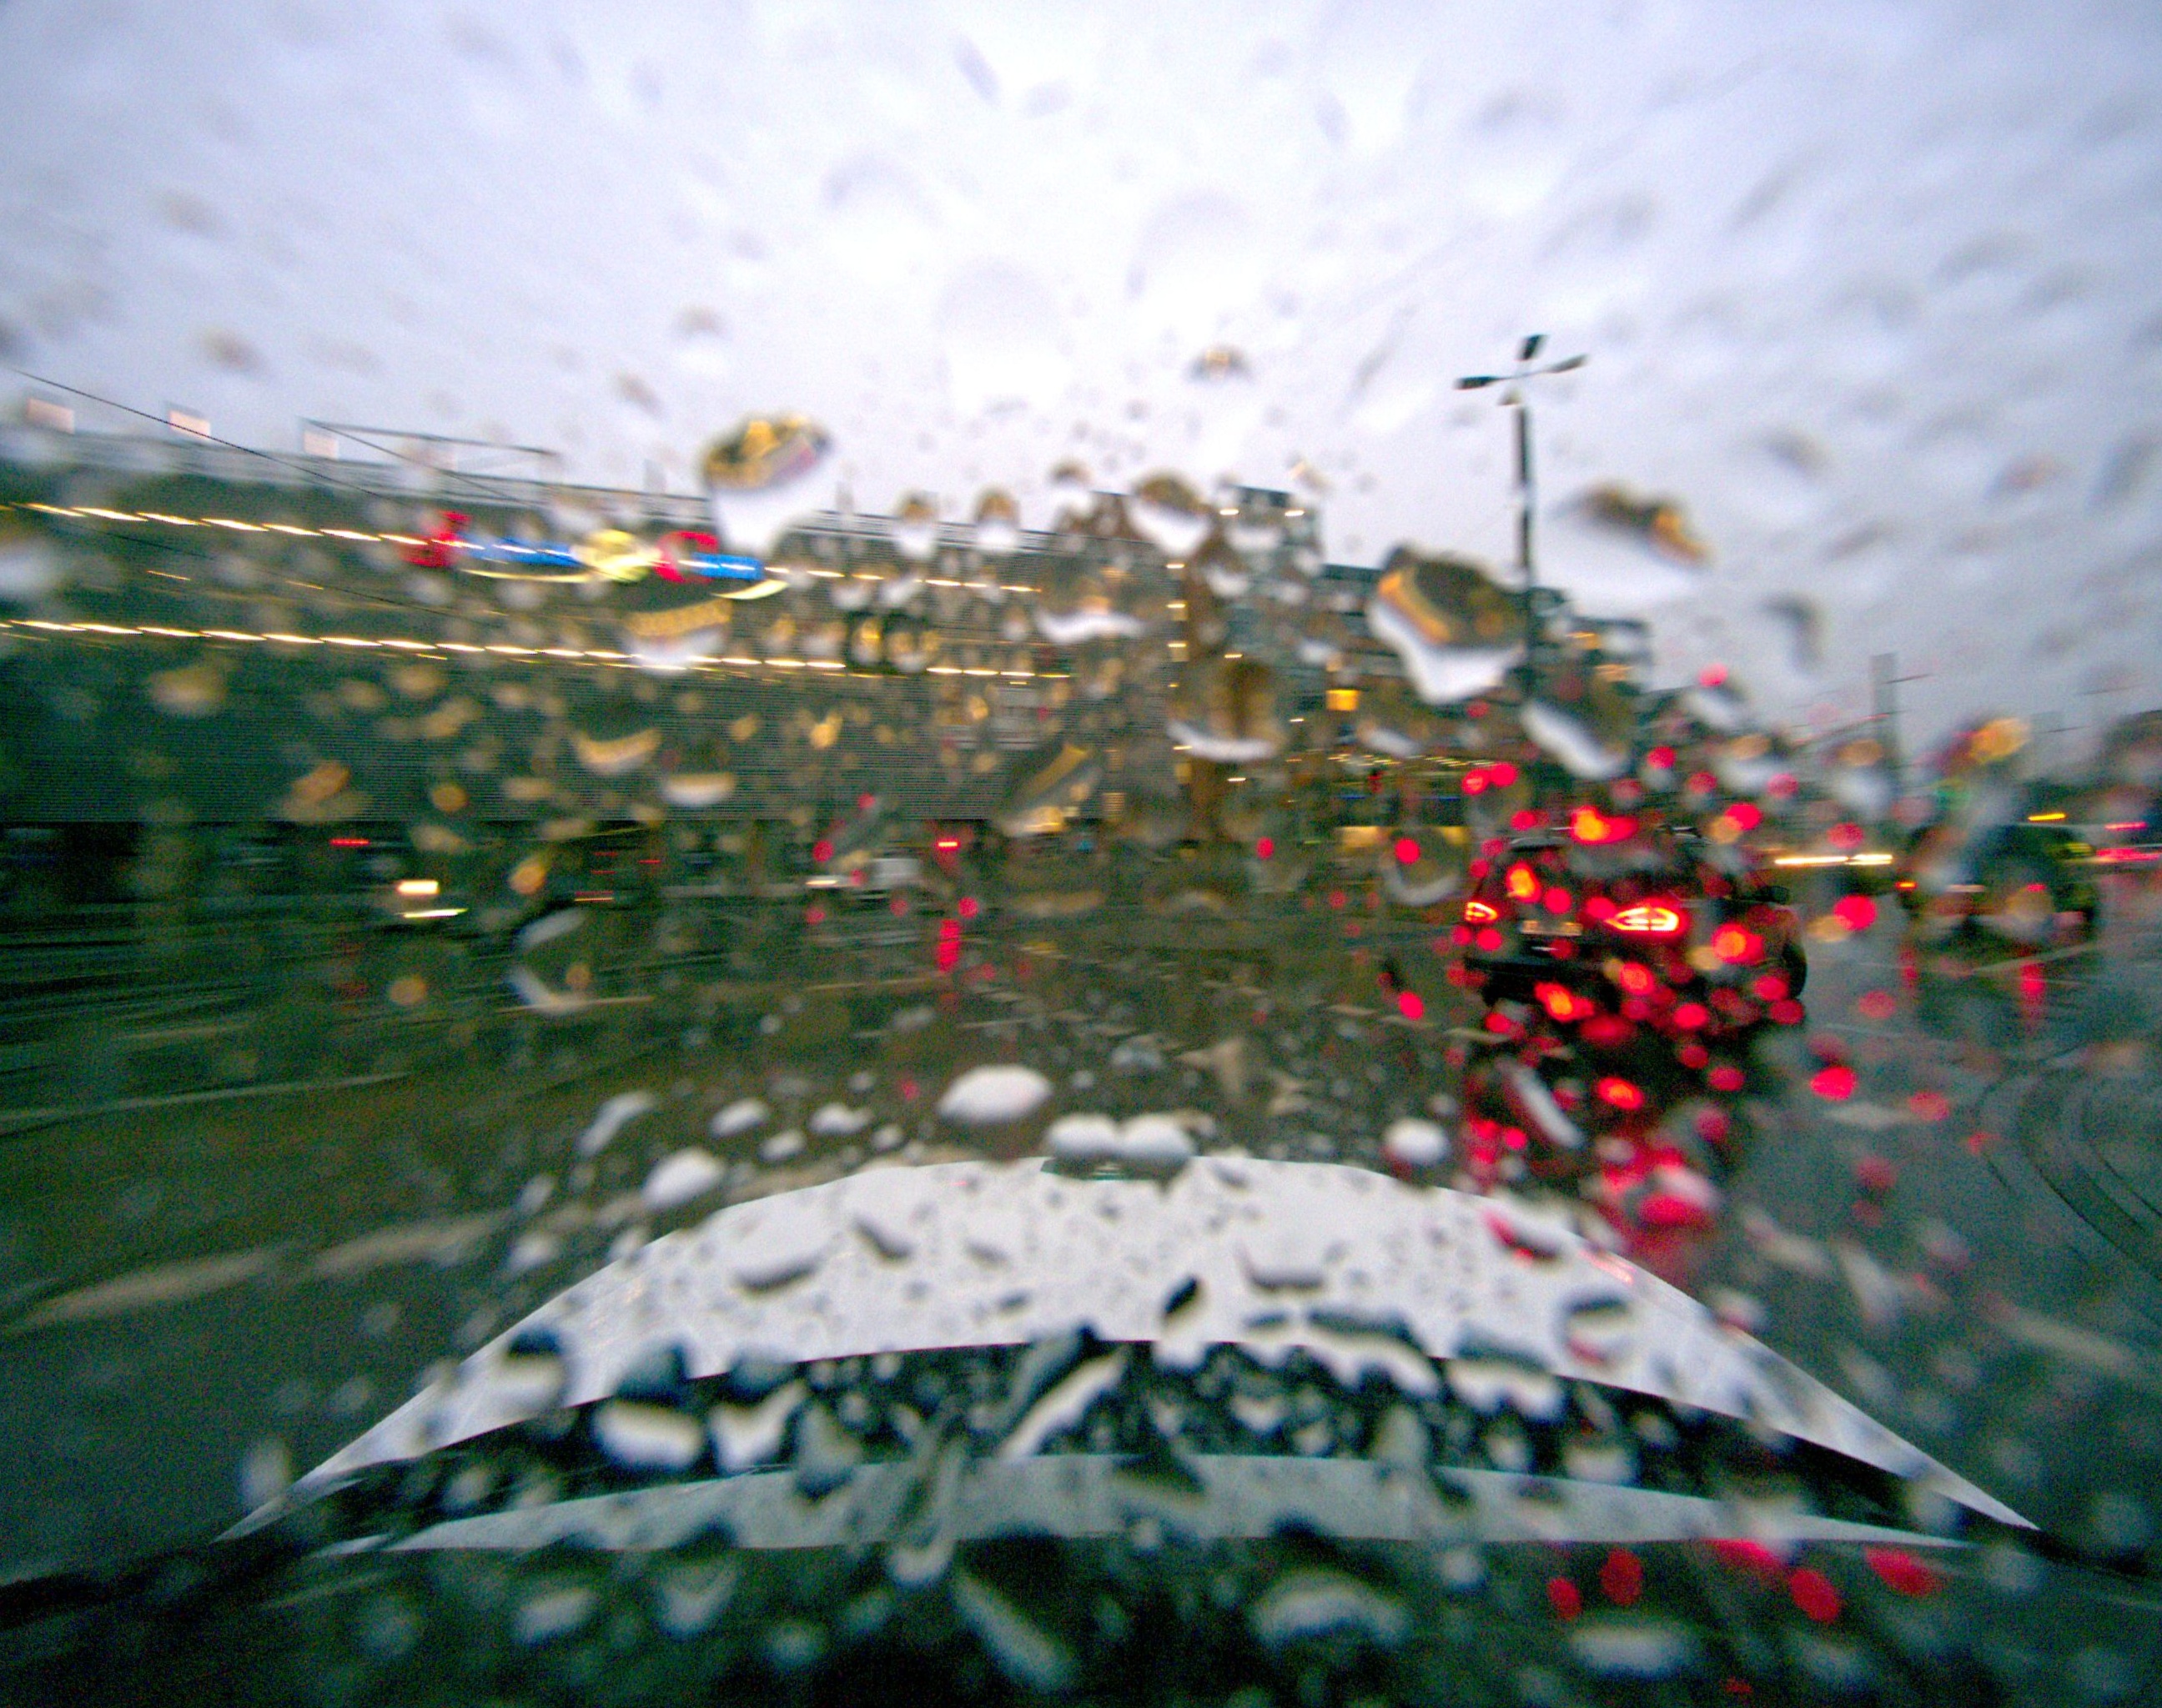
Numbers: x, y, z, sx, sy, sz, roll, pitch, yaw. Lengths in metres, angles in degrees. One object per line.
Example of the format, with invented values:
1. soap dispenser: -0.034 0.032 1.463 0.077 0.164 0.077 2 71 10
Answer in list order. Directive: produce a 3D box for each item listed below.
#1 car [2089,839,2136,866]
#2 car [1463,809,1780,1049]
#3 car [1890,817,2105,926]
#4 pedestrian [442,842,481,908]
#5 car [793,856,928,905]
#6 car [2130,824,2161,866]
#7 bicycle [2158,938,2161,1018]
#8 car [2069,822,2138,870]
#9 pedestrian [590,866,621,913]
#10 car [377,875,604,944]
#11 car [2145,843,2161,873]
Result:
1. car: 60.425 -0.079 47.703 3.485 1.520 1.506 0 -2 -35
2. car: 5.473 0.564 8.030 4.022 1.780 1.659 0 -1 -43
3. car: 17.372 0.281 15.397 4.500 1.806 1.831 -1 -1 -31
4. pedestrian: -27.718 0.947 36.434 0.964 2.925 1.108 1 -2 -15
5. car: -8.459 0.991 31.465 4.633 1.719 1.907 0 -1 -40
6. car: 74.969 -0.620 56.456 6.384 2.827 2.337 0 -1 -34
7. bicycle: 5.960 0.894 3.276 0.655 0.973 1.861 -1 -1 -8
8. car: 54.877 -0.411 43.671 6.000 2.427 1.978 0 -1 -36
9. pedestrian: -24.899 1.851 42.642 1.112 2.439 0.961 1 -2 -15
10. car: -14.553 1.299 20.409 1.610 1.445 4.445 -2 -1 20
11. car: 50.582 0.142 37.478 3.746 1.361 1.628 -1 -1 -32
